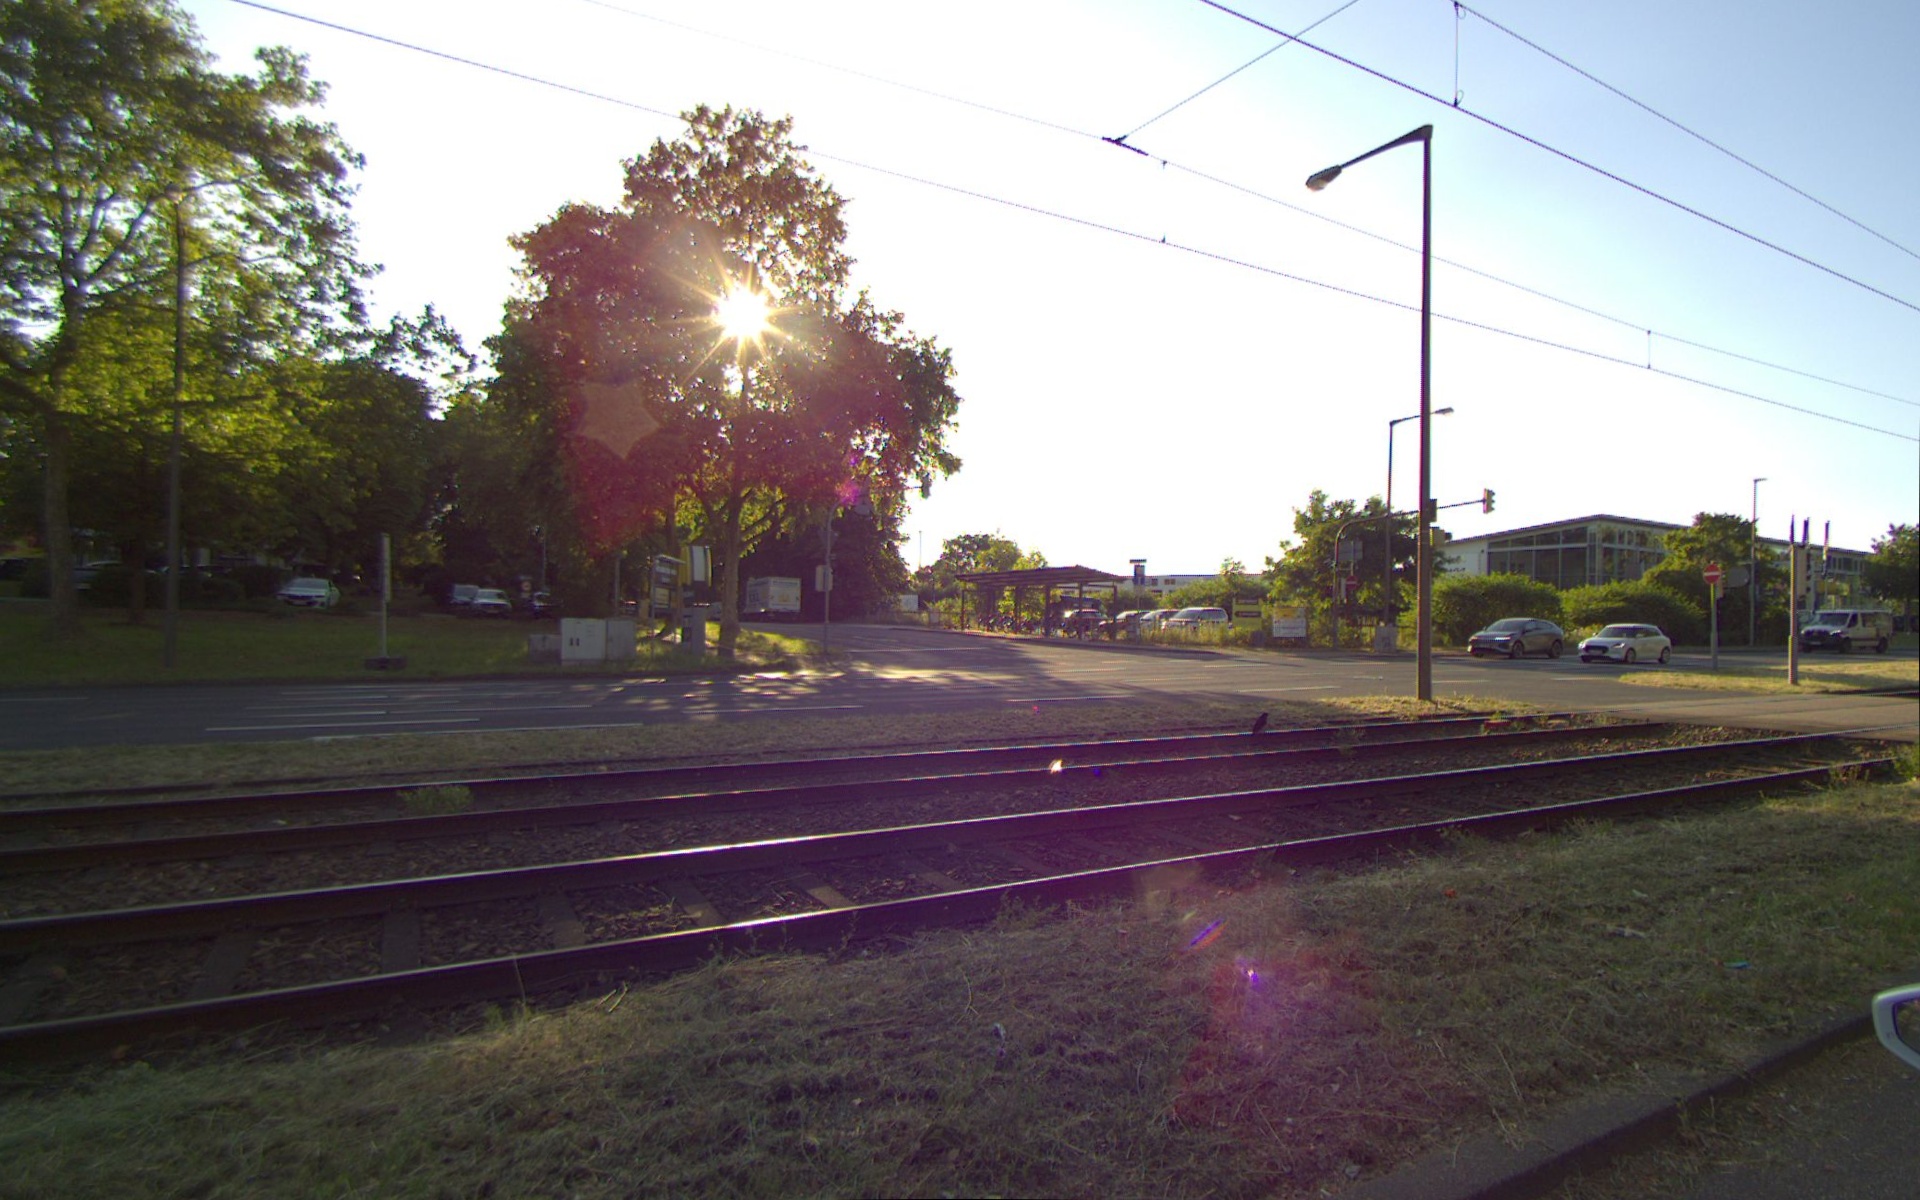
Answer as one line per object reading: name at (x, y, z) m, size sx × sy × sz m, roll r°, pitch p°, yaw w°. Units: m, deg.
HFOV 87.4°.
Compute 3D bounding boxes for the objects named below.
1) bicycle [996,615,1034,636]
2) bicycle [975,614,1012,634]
bicycle at (3.106, 1.431, 56.420) m, size 2.004 × 1.119 × 0.777 m, roll 2°, pitch 0°, yaw -30°
bicycle at (1.965, 1.405, 59.057) m, size 2.004 × 1.119 × 0.777 m, roll 2°, pitch 0°, yaw -30°
